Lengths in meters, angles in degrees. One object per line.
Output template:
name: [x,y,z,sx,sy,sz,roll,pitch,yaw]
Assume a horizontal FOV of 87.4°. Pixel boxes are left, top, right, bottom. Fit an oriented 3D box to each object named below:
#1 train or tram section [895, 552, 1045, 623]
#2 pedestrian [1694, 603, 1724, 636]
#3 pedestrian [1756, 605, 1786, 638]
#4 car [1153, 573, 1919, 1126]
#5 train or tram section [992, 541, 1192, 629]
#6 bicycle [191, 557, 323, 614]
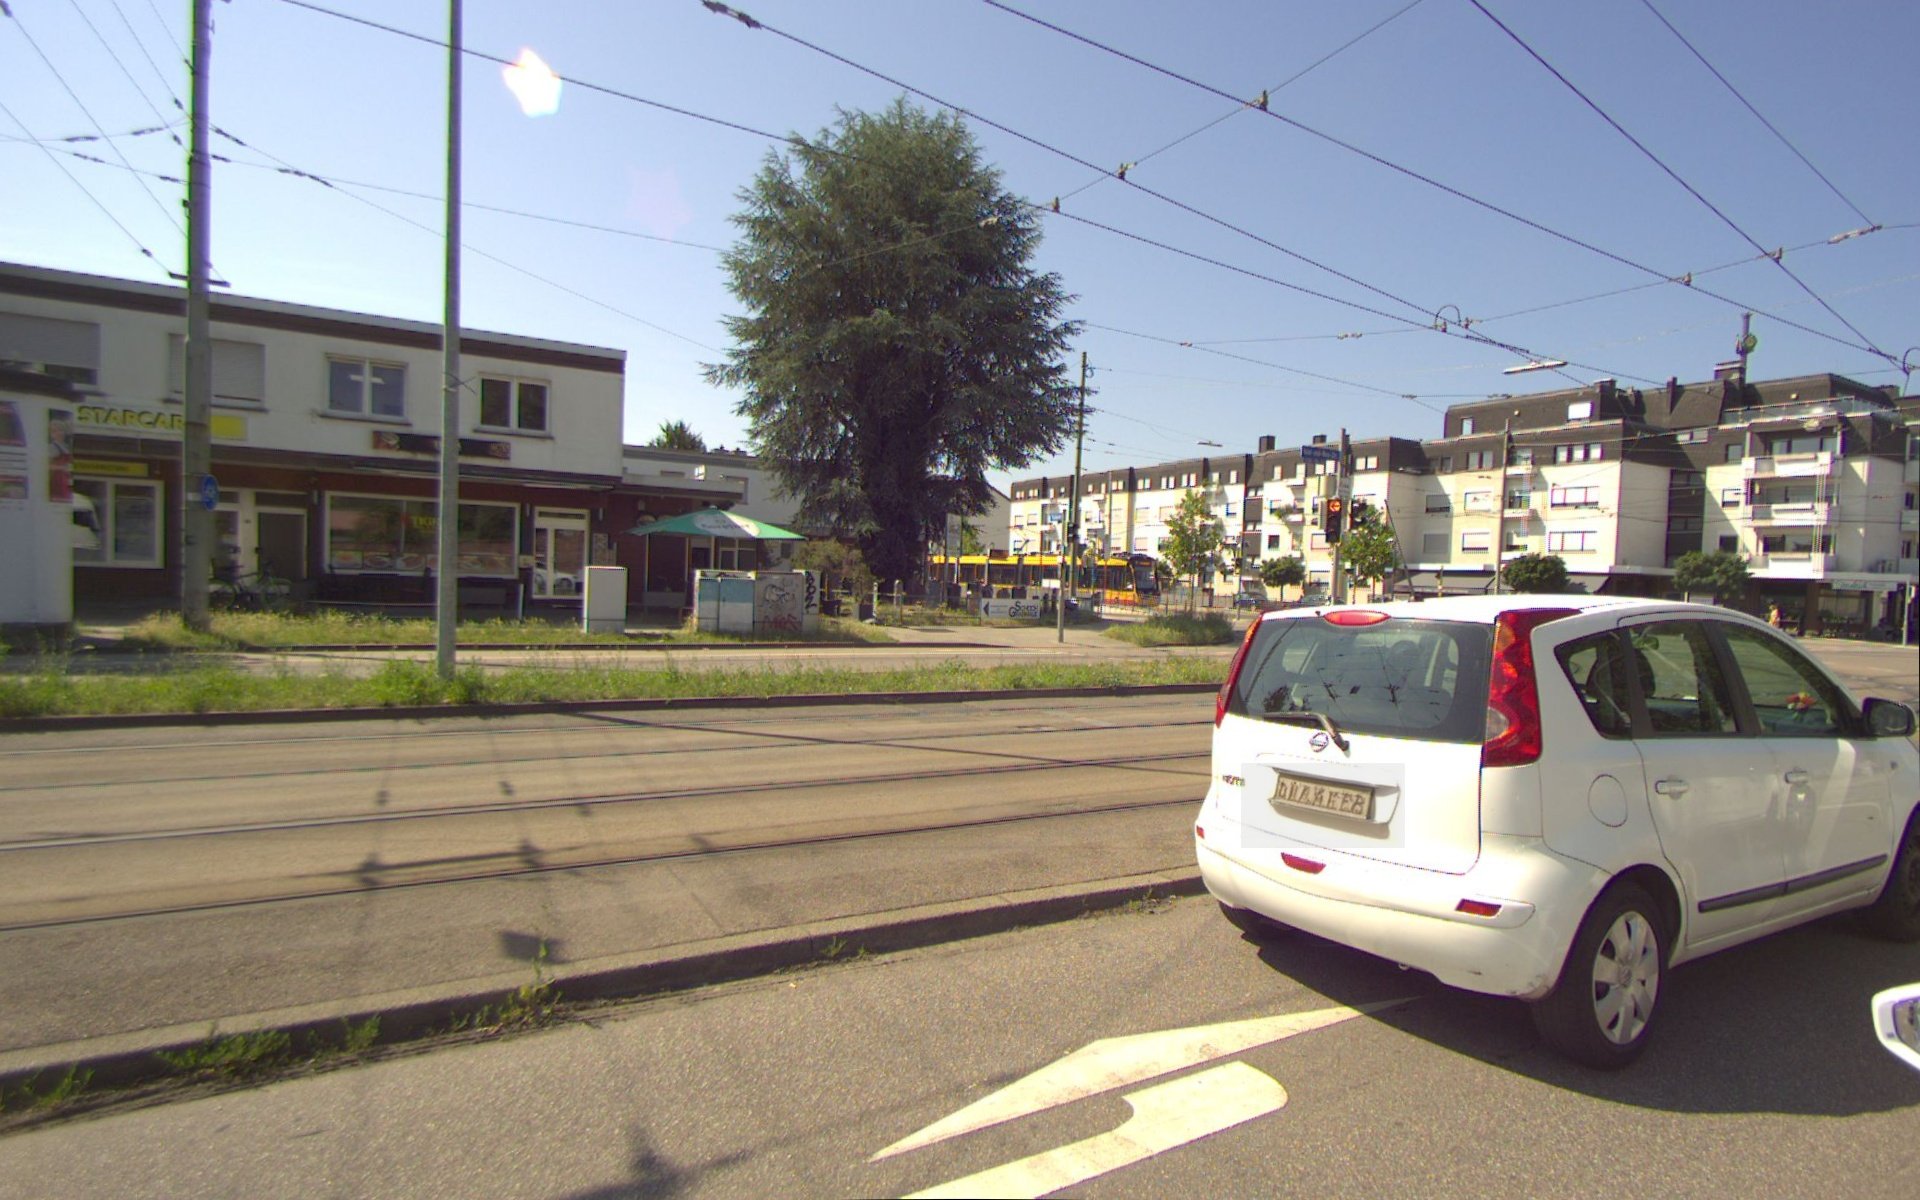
train or tram section: [0.374,-0.937,83.283,4.681,5.217,16.121,2,-1,-30]
pedestrian: [40.809,1.044,54.761,0.956,1.766,0.864,2,-1,-1]
pedestrian: [44.846,1.198,55.528,0.955,1.766,0.865,2,-1,6]
car: [2.849,0.724,4.550,3.759,1.587,1.634,0,0,-31]
train or tram section: [8.529,-0.903,69.382,4.681,5.217,16.121,2,-1,-30]
bicycle: [-15.520,-0.296,22.266,2.306,1.167,0.783,2,-1,-30]
